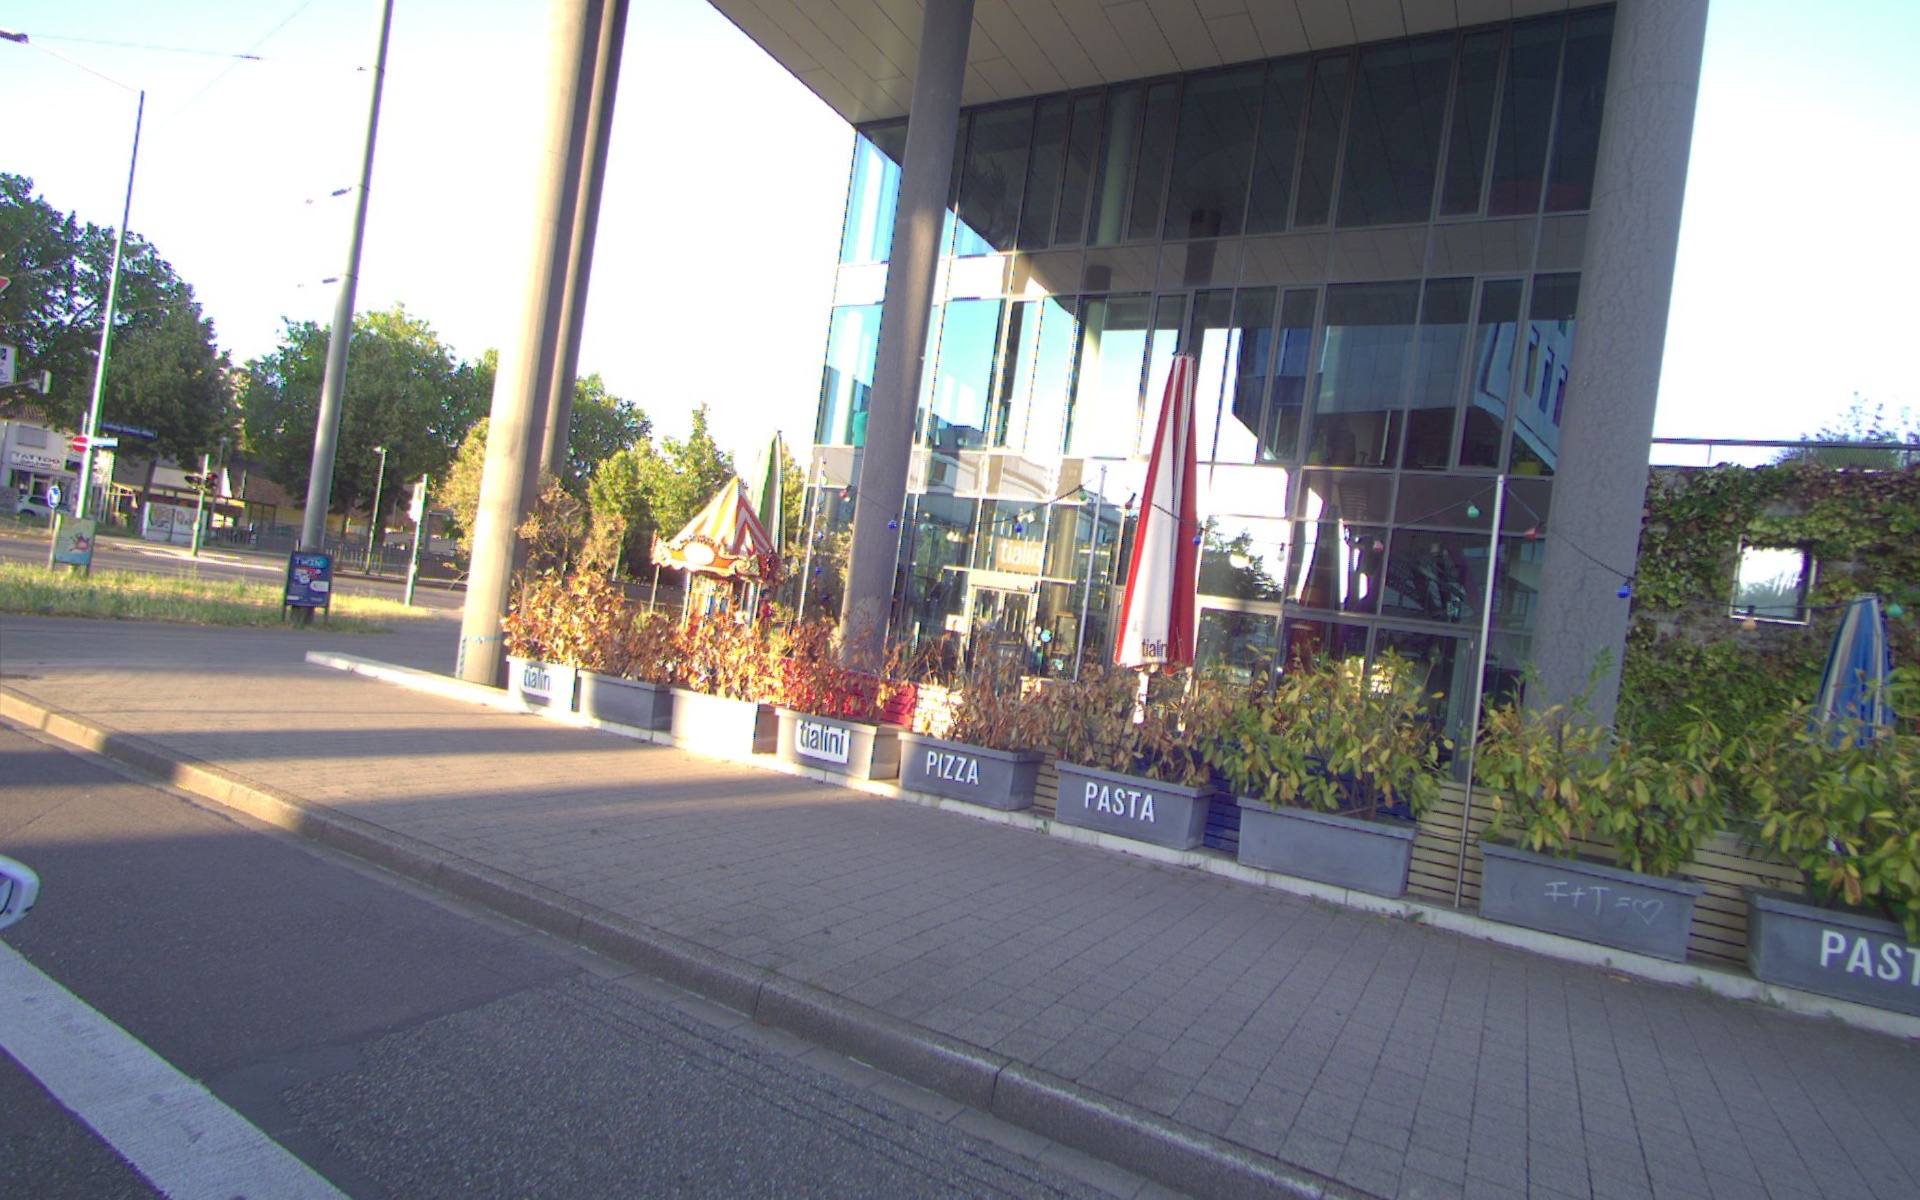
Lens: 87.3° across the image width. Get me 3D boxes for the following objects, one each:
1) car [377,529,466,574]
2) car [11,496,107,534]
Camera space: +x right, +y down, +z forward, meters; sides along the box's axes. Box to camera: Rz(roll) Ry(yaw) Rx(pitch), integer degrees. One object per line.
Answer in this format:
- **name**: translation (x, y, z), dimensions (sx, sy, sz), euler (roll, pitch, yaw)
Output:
- **car**: translation (-42.538, -3.803, 79.572), dimensions (2.197, 2.581, 5.594), euler (7, -2, 39)
- **car**: translation (-50.248, -4.744, 56.131), dimensions (1.641, 1.456, 3.736), euler (6, -2, 41)
